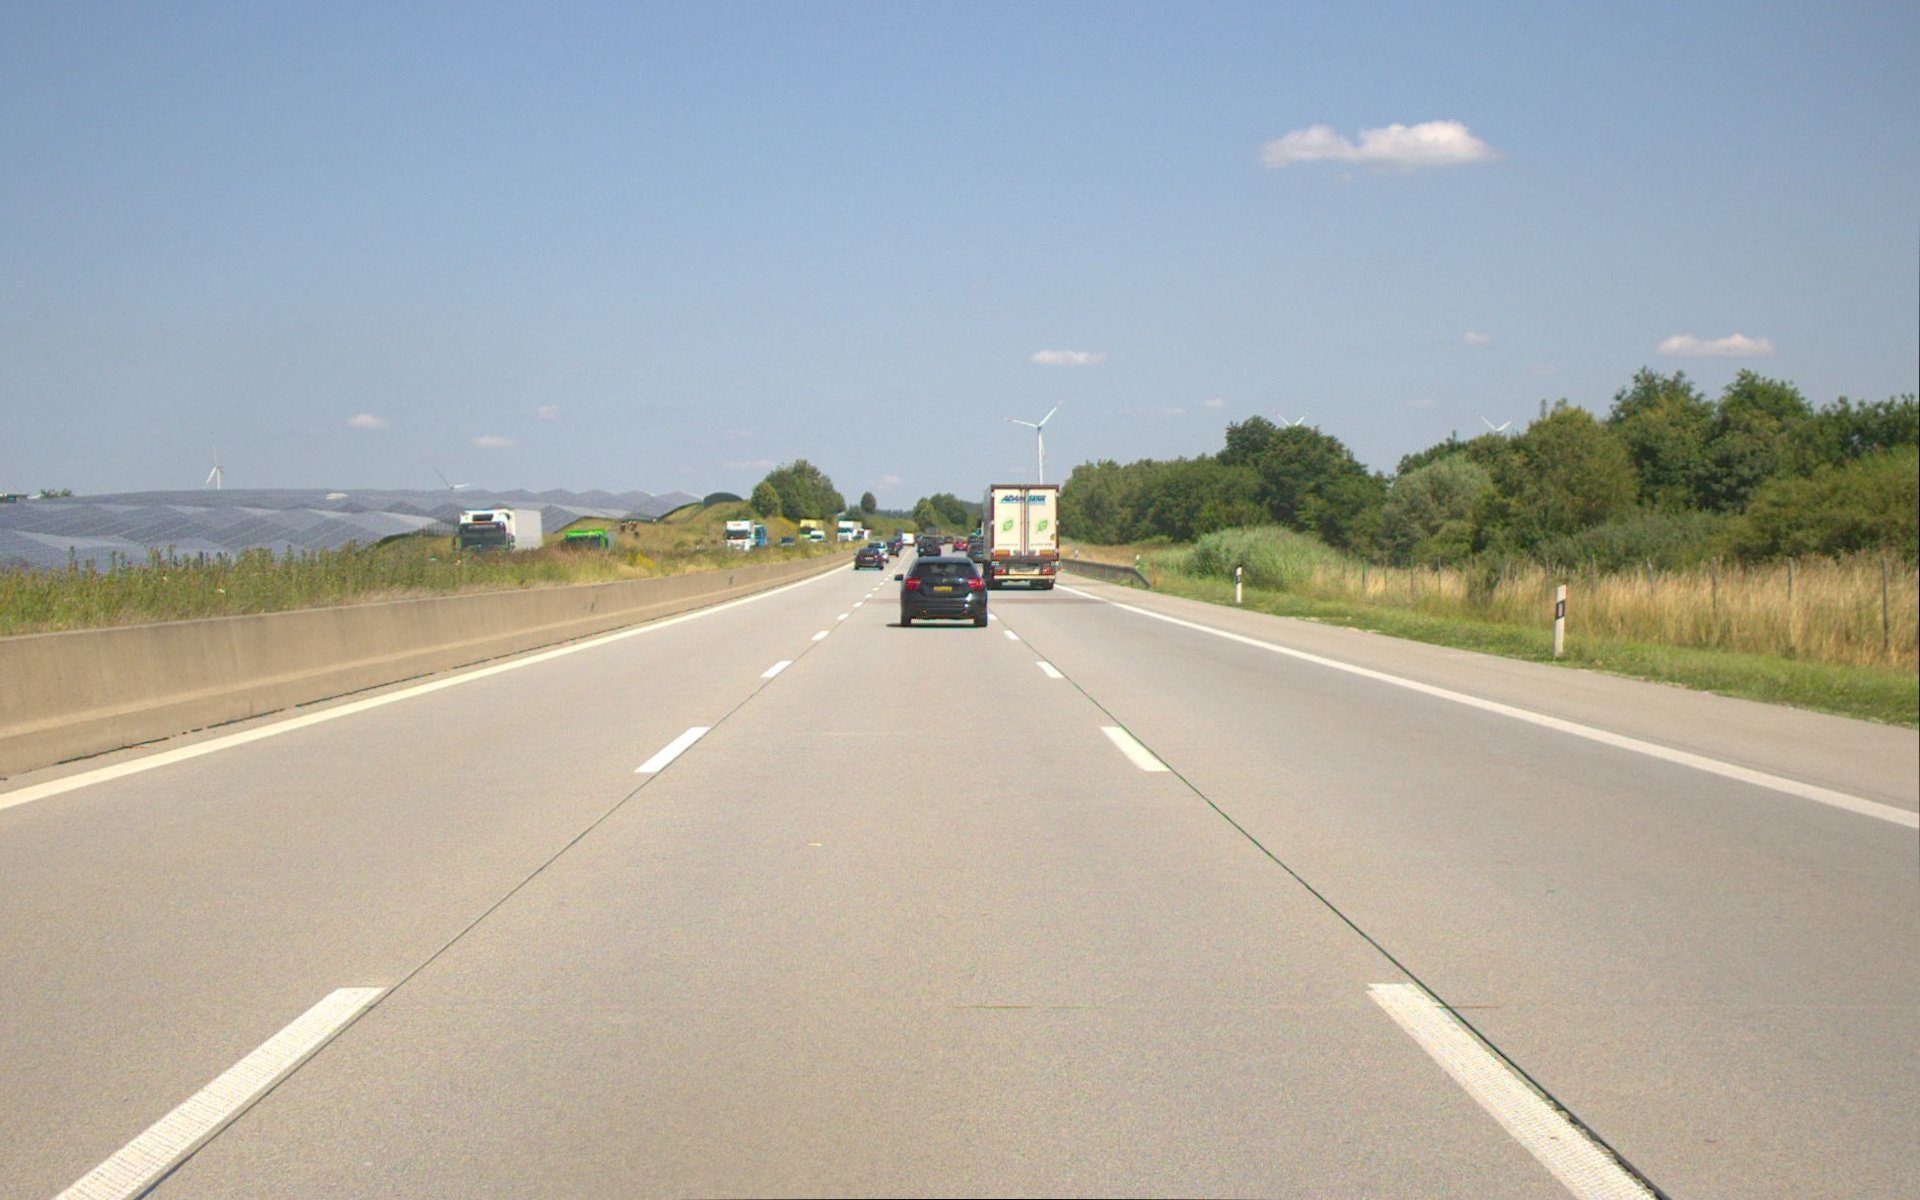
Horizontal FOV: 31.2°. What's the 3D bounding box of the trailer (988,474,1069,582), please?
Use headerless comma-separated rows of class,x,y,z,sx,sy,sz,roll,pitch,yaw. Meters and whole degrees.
trailer,2.658,-2.833,136.503,2.852,4.029,12.714,1,1,0

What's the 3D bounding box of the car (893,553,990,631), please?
car,-0.409,-0.194,70.834,1.910,1.487,4.192,1,1,-1

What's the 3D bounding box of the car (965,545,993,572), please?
car,1.398,-2.993,247.870,1.827,1.900,4.000,0,1,3

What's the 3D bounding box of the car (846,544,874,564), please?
car,-6.360,-2.940,219.399,1.655,1.192,3.960,3,1,0
